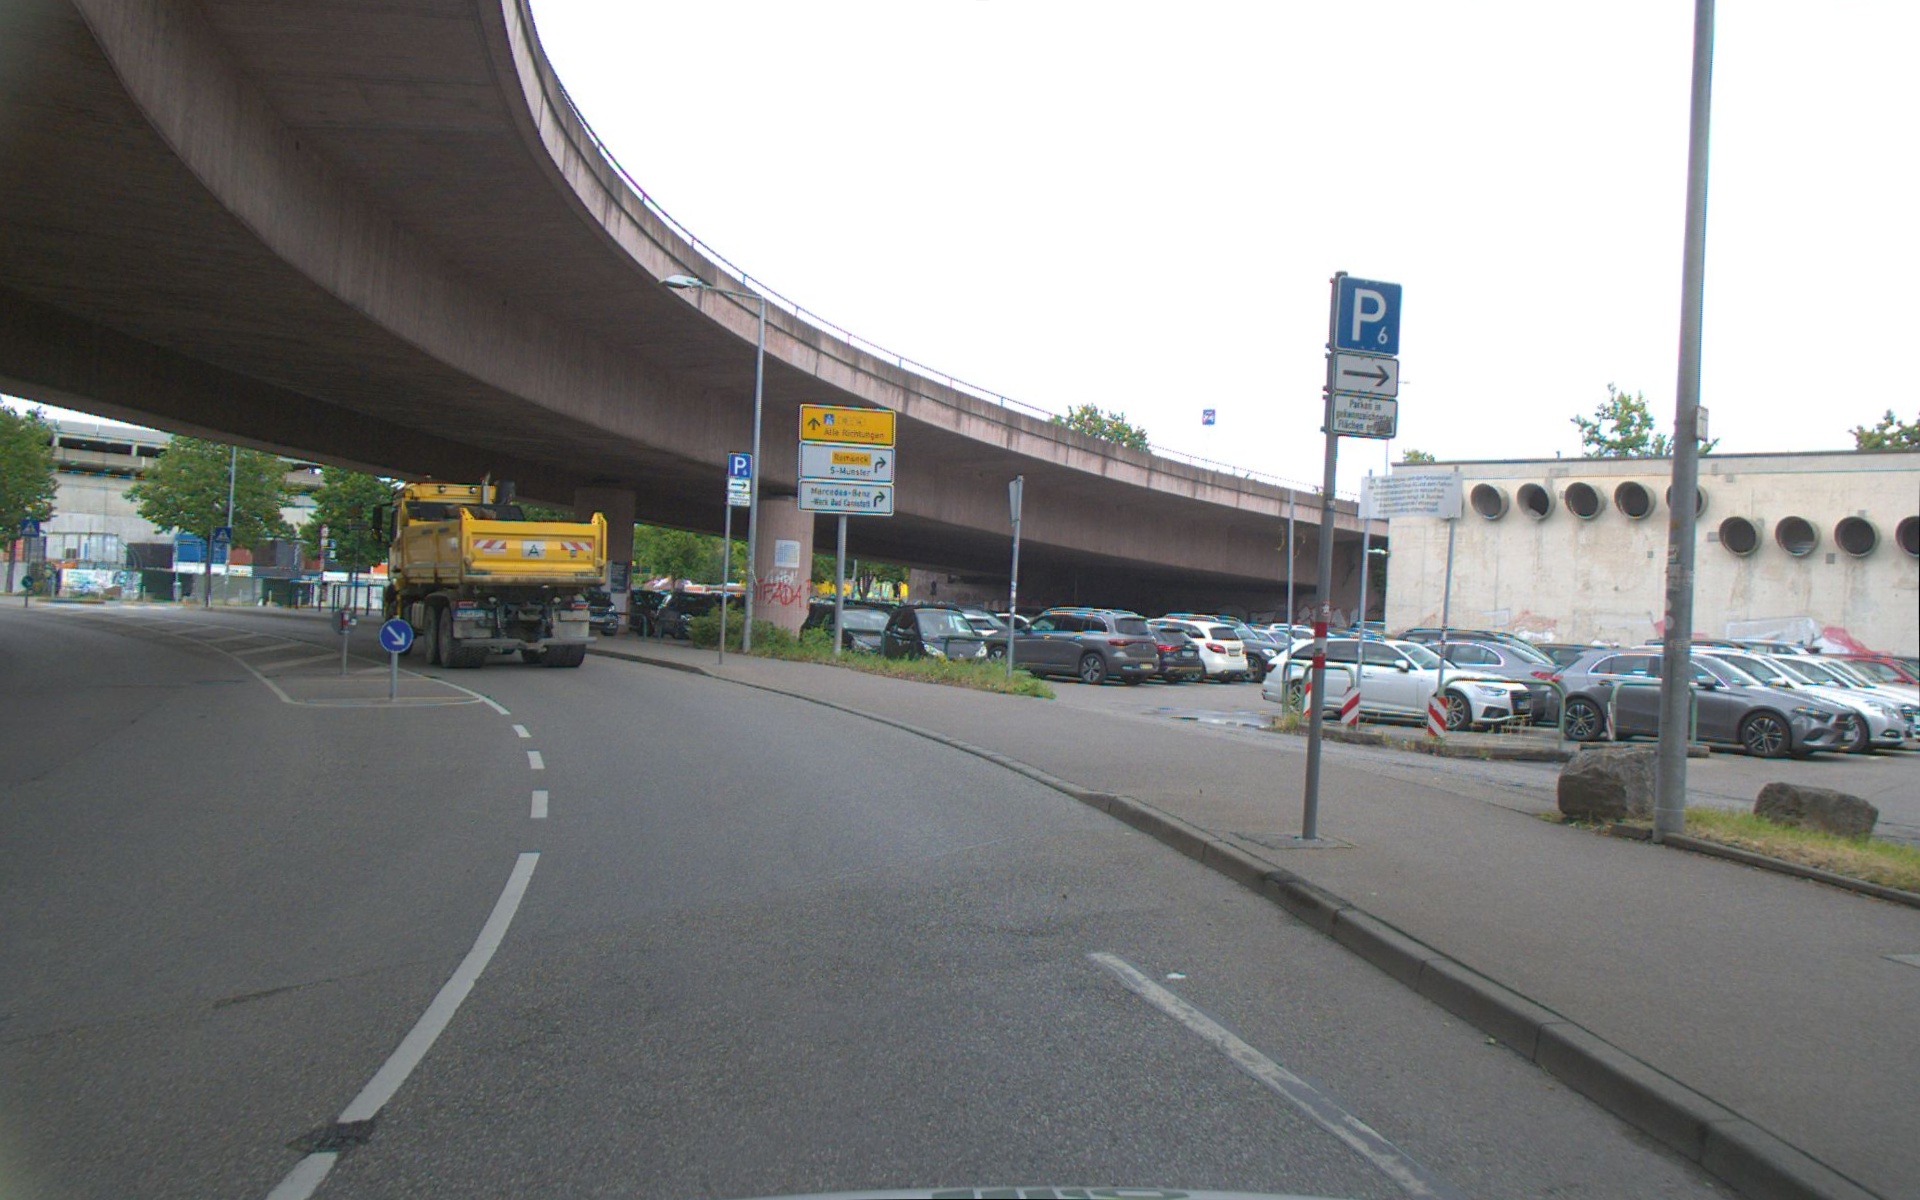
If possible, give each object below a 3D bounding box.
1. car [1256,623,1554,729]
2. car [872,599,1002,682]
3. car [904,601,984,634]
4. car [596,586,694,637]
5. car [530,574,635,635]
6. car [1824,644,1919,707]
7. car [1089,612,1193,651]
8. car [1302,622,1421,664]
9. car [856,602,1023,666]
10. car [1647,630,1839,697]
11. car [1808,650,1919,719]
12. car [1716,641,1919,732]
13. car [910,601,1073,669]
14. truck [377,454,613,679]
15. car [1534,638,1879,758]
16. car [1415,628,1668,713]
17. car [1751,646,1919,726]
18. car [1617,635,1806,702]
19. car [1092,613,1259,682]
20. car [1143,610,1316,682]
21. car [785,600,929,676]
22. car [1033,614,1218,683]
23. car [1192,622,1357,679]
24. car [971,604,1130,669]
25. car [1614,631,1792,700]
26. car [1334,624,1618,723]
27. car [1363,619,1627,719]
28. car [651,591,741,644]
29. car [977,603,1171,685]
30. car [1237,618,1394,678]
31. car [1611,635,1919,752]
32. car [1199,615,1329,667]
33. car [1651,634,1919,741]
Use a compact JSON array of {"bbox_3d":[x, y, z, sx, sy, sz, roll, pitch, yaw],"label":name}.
[{"bbox_3d":[7.537,1.247,28.317,4.607,1.501,1.846,2,0,44],"label":"car"},{"bbox_3d":[-0.480,0.768,32.311,1.520,1.505,2.739,2,-1,-25],"label":"car"},{"bbox_3d":[-0.833,0.894,84.578,3.783,1.504,1.752,2,0,35],"label":"car"},{"bbox_3d":[-10.762,0.379,56.439,3.314,1.526,1.522,2,-3,41],"label":"car"},{"bbox_3d":[-10.899,0.115,47.670,1.595,1.560,3.363,5,-2,-38],"label":"car"},{"bbox_3d":[24.141,1.933,41.135,4.367,1.450,1.827,2,0,44],"label":"car"},{"bbox_3d":[7.746,1.356,70.924,4.116,1.491,1.828,2,-1,41],"label":"car"},{"bbox_3d":[15.607,1.659,64.368,4.116,1.433,1.828,2,0,41],"label":"car"},{"bbox_3d":[-0.562,0.868,42.629,4.116,1.446,1.828,2,0,41],"label":"car"},{"bbox_3d":[21.330,1.704,45.129,4.409,1.559,1.759,2,0,42],"label":"car"},{"bbox_3d":[22.129,1.982,37.993,4.367,1.450,1.827,2,0,44],"label":"car"},{"bbox_3d":[17.462,1.683,32.429,4.425,1.540,1.827,2,0,44],"label":"car"},{"bbox_3d":[0.812,0.932,44.289,4.116,1.620,1.828,2,-1,41],"label":"car"},{"bbox_3d":[-9.140,-0.585,31.816,2.727,3.763,7.805,0,0,-29],"label":"truck"},{"bbox_3d":[11.145,1.411,24.895,4.367,1.450,1.827,2,0,44],"label":"car"},{"bbox_3d":[11.931,1.414,34.109,4.538,1.469,1.847,2,0,42],"label":"car"},{"bbox_3d":[19.052,1.785,34.368,4.367,1.450,1.827,2,0,44],"label":"car"},{"bbox_3d":[18.591,1.675,40.981,3.905,1.417,1.759,2,0,42],"label":"car"},{"bbox_3d":[5.589,1.211,43.154,4.014,1.584,1.747,2,-1,41],"label":"car"},{"bbox_3d":[7.267,1.223,44.918,4.352,1.720,1.747,2,-1,41],"label":"car"},{"bbox_3d":[-2.336,0.807,36.438,1.708,1.505,4.216,2,-1,-25],"label":"car"},{"bbox_3d":[4.072,1.179,41.116,4.378,1.474,1.747,2,0,41],"label":"car"},{"bbox_3d":[8.803,1.408,46.528,4.327,1.387,1.622,2,0,41],"label":"car"},{"bbox_3d":[2.482,1.002,45.929,4.116,1.620,1.828,2,-1,41],"label":"car"},{"bbox_3d":[19.432,1.680,43.332,3.905,1.559,1.759,2,0,42],"label":"car"},{"bbox_3d":[9.386,1.307,30.320,4.603,1.501,1.847,2,0,42],"label":"car"},{"bbox_3d":[10.419,1.314,32.395,4.538,1.656,1.847,2,0,42],"label":"car"},{"bbox_3d":[-8.444,0.558,52.644,1.763,1.533,3.827,4,-2,-26],"label":"car"},{"bbox_3d":[2.651,1.008,39.054,4.389,1.704,1.735,2,-1,41],"label":"car"},{"bbox_3d":[10.349,1.397,48.319,4.184,1.535,1.699,2,-1,41],"label":"car"},{"bbox_3d":[13.109,1.448,26.758,4.425,1.540,1.827,2,0,44],"label":"car"},{"bbox_3d":[10.631,1.419,57.968,4.116,1.620,1.828,2,-1,41],"label":"car"},{"bbox_3d":[14.678,1.482,28.920,4.425,1.540,1.827,2,0,44],"label":"car"}]
